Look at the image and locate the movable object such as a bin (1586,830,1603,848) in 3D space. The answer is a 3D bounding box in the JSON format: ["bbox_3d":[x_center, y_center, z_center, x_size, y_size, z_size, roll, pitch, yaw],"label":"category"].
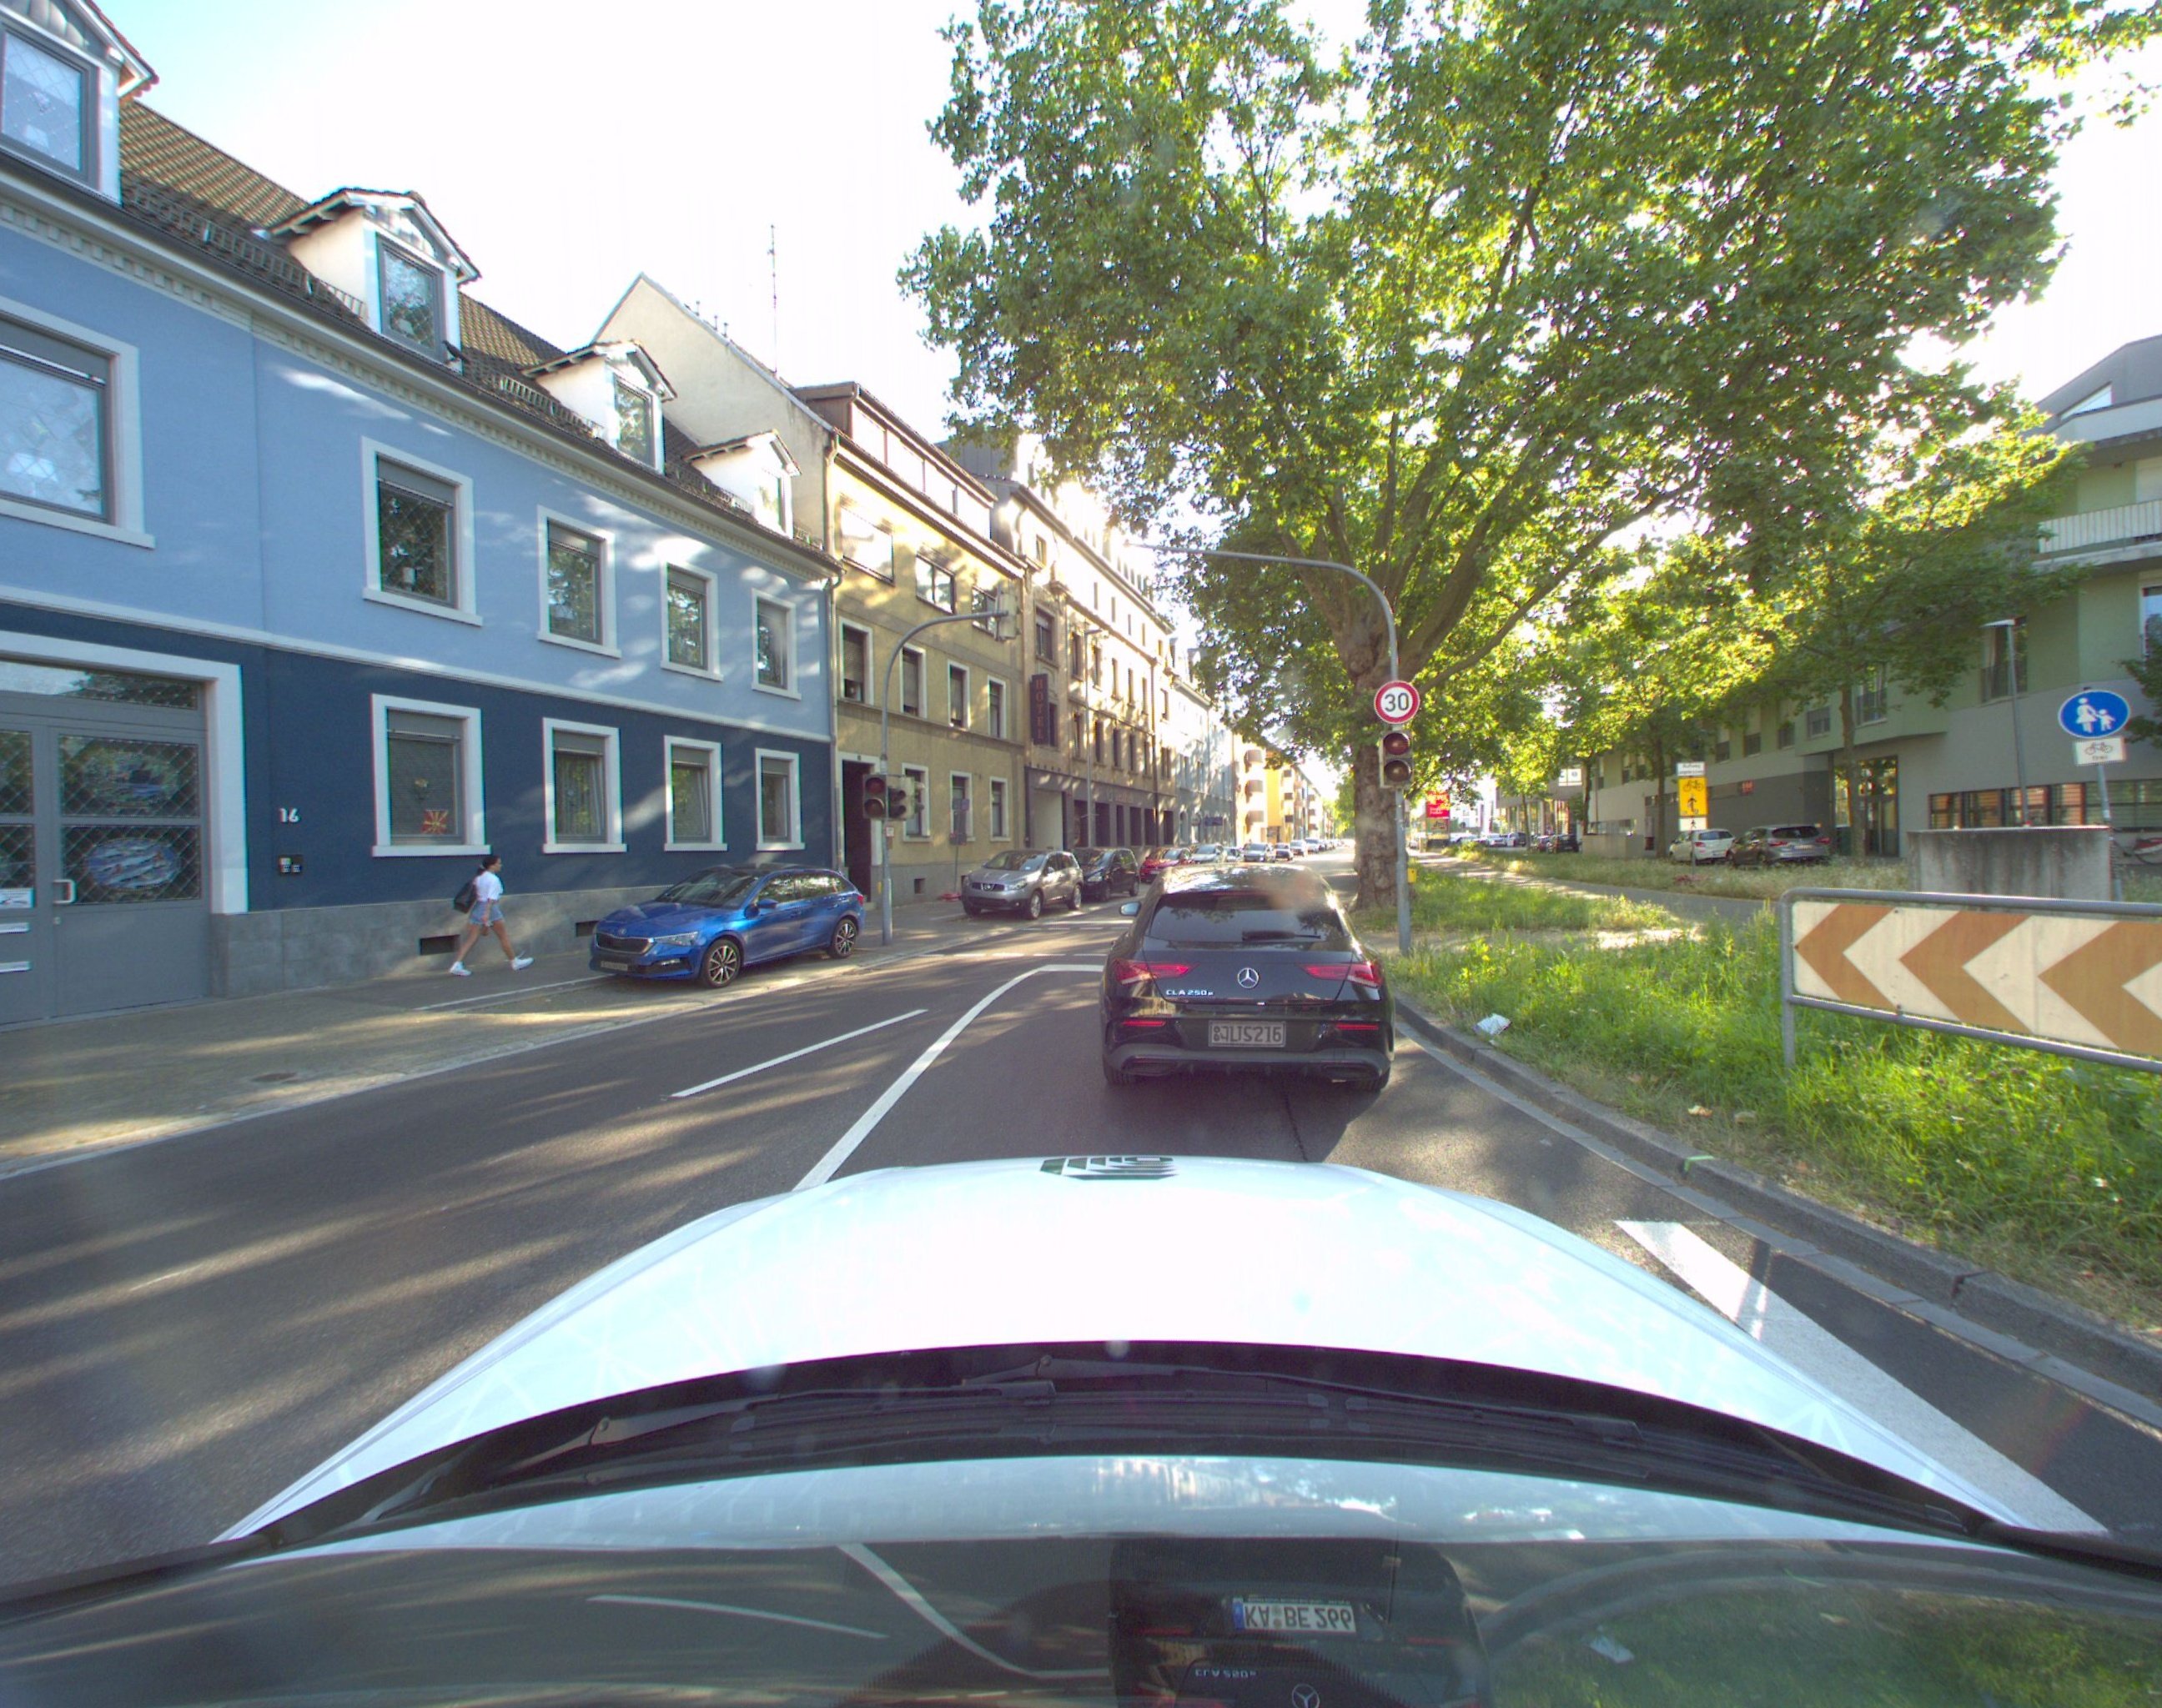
[{"bbox_3d":[45.107,-1.328,71.532,1.181,1.463,1.416,-1,0,32],"label":"movable object such as a bin"}]

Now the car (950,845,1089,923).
[{"bbox_3d":[-1.385,0.638,20.147,1.766,1.672,4.178,0,1,21],"label":"car"}]

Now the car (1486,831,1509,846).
[{"bbox_3d":[51.158,-1.855,100.034,1.861,1.733,4.200,-2,1,17],"label":"car"}]

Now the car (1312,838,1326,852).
[{"bbox_3d":[33.121,-1.260,113.294,1.731,1.787,4.571,0,1,18],"label":"car"}]

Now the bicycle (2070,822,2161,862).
[{"bbox_3d":[27.590,-0.307,21.571,1.659,1.018,0.592,-2,1,39],"label":"bicycle"}]

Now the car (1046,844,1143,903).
[{"bbox_3d":[0.505,0.528,24.905,1.663,1.604,3.726,1,1,23],"label":"car"}]

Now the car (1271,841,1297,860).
[{"bbox_3d":[17.306,-0.320,69.270,1.663,1.486,3.620,0,1,21],"label":"car"}]

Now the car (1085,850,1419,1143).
[{"bbox_3d":[1.211,0.724,6.291,1.734,1.443,3.980,0,1,9],"label":"car"}]

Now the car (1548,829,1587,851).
[{"bbox_3d":[36.504,-1.079,61.231,1.843,1.552,3.779,-2,1,20],"label":"car"}]

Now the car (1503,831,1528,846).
[{"bbox_3d":[52.879,-1.873,99.169,1.970,1.733,4.201,-2,1,18],"label":"car"}]

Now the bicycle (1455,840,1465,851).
[{"bbox_3d":[36.836,-0.806,79.171,0.381,1.003,1.488,-2,0,4],"label":"bicycle"}]

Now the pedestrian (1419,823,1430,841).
[{"bbox_3d":[34.767,-2.240,82.448,0.763,1.761,0.666,-3,0,10],"label":"pedestrian"}]

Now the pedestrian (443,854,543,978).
[{"bbox_3d":[-7.962,0.807,11.047,0.697,1.570,0.871,-1,0,34],"label":"pedestrian"}]

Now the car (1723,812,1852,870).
[{"bbox_3d":[23.937,-0.445,27.805,1.888,1.771,4.342,-2,1,20],"label":"car"}]

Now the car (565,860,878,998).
[{"bbox_3d":[-4.878,0.892,11.812,1.636,1.486,4.284,0,1,19],"label":"car"}]

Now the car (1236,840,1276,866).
[{"bbox_3d":[11.703,-0.082,54.233,1.891,1.641,4.602,0,1,21],"label":"car"}]

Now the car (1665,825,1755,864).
[{"bbox_3d":[26.758,-0.419,34.811,1.843,1.542,4.342,-2,1,20],"label":"car"}]

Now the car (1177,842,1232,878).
[{"bbox_3d":[5.878,0.241,38.454,1.663,1.584,4.222,0,1,21],"label":"car"}]

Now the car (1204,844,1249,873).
[{"bbox_3d":[8.008,0.206,44.578,1.663,1.496,3.892,0,1,21],"label":"car"}]

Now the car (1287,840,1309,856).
[{"bbox_3d":[21.783,-0.616,81.663,1.663,1.523,4.042,0,1,21],"label":"car"}]

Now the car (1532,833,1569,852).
[{"bbox_3d":[39.164,-0.948,67.989,1.844,1.468,4.144,-2,1,18],"label":"car"}]

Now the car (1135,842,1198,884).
[{"bbox_3d":[3.616,0.327,33.861,1.663,1.592,3.776,0,1,21],"label":"car"}]

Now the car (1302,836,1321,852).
[{"bbox_3d":[28.569,-1.235,100.777,1.719,1.906,5.236,0,1,21],"label":"car"}]

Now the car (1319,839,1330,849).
[{"bbox_3d":[37.830,-1.540,126.674,1.535,1.523,4.024,0,1,18],"label":"car"}]
